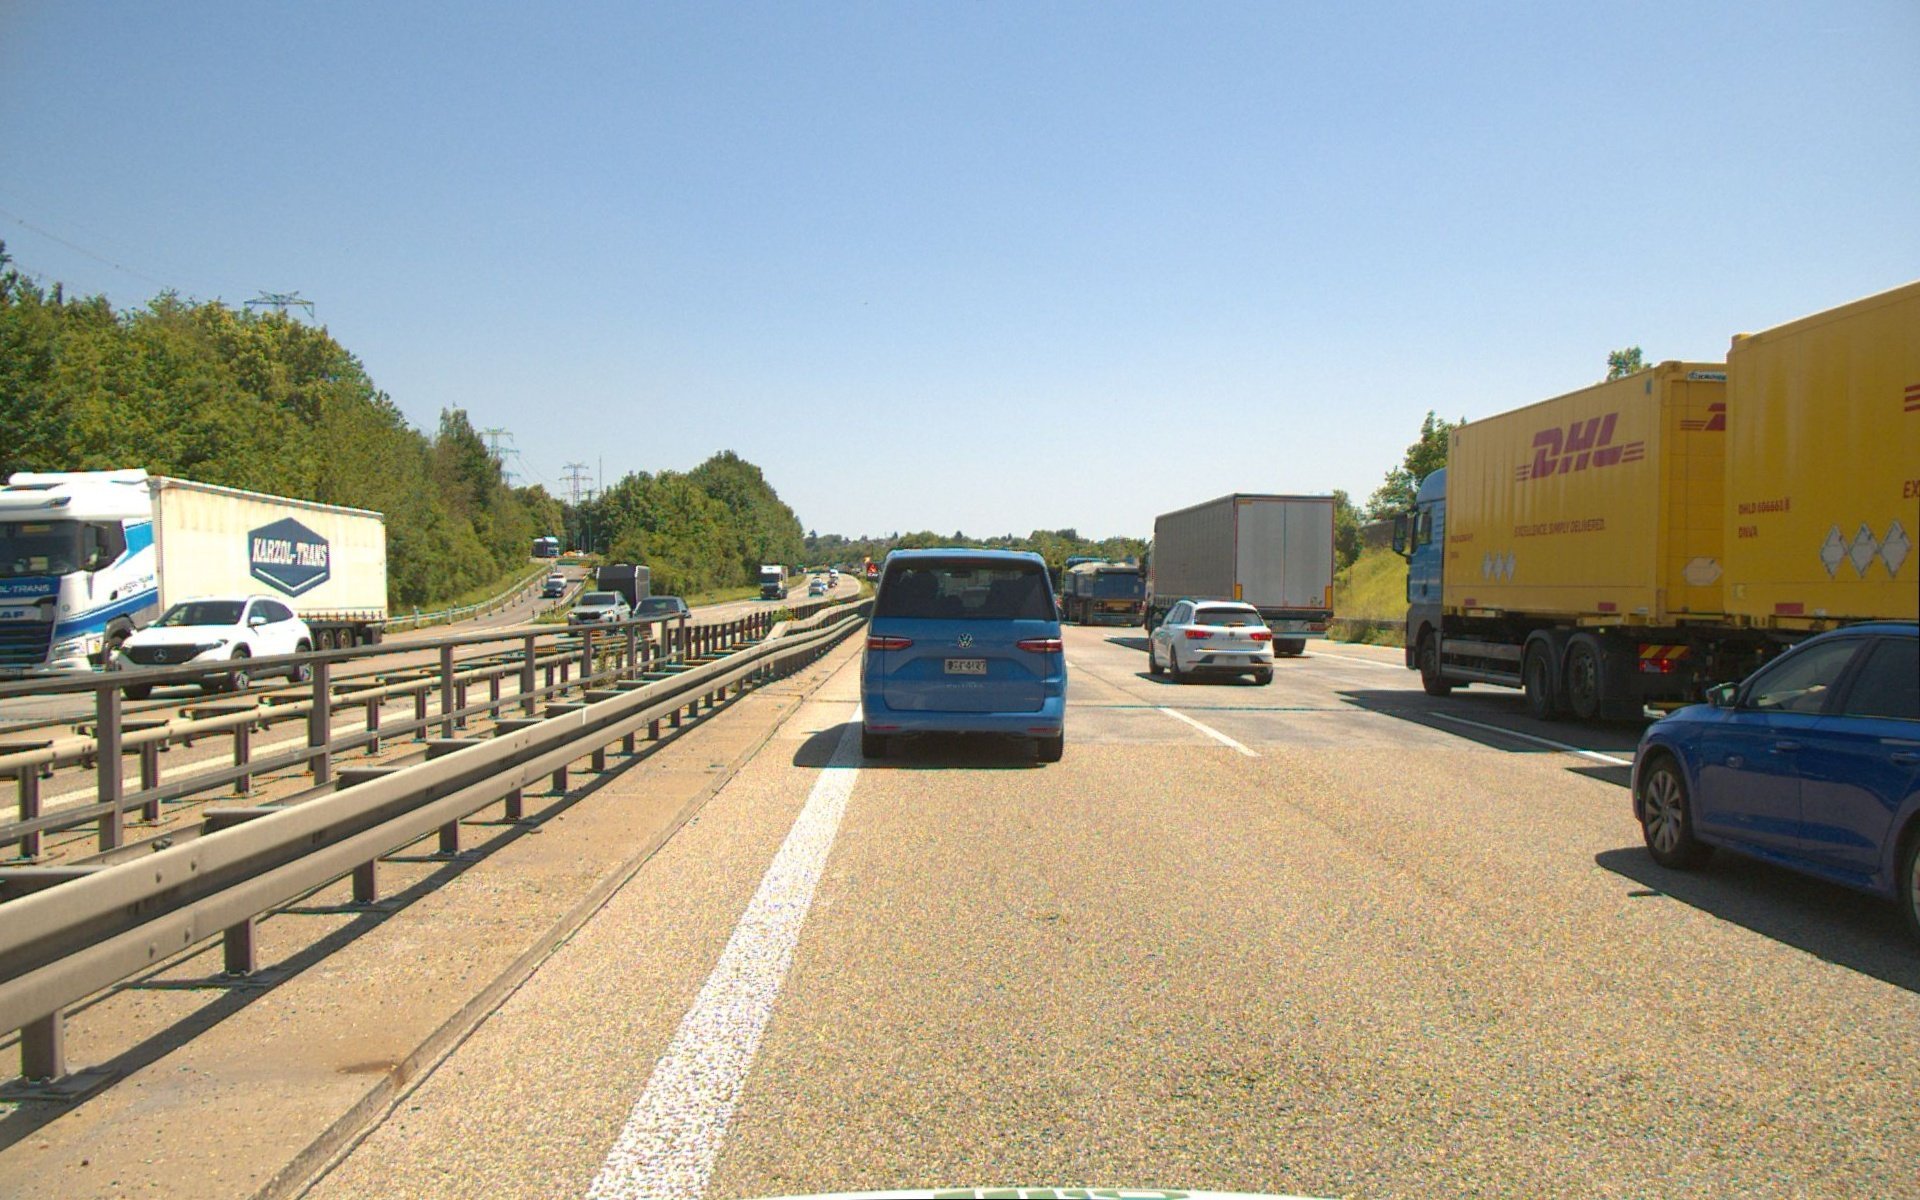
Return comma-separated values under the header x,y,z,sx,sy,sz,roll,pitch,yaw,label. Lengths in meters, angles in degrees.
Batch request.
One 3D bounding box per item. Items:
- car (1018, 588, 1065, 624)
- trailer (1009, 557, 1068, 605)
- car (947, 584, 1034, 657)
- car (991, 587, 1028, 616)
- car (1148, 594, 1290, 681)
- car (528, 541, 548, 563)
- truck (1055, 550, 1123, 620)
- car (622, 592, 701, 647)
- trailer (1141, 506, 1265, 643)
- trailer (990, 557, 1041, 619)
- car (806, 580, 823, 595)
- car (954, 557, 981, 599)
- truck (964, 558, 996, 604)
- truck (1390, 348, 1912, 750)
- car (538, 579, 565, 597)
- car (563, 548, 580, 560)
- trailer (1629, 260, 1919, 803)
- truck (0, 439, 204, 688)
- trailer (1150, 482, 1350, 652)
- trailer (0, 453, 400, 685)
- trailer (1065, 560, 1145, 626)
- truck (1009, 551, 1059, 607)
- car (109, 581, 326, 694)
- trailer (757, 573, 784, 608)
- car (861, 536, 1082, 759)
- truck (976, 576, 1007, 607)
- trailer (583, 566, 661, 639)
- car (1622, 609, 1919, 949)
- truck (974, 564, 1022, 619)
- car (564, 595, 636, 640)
x,y,z,sx,sy,sz,roll,pitch,yaw,label
3.529,0.270,72.440,1.803,1.480,3.999,2,0,-1,car
5.674,-1.275,122.584,3.572,3.133,15.770,1,0,0,trailer
0.667,0.469,39.011,1.833,1.579,3.998,2,0,-2,car
2.679,0.096,89.814,1.745,1.551,3.998,1,0,-2,car
4.521,0.612,29.443,1.829,1.385,3.999,2,0,-1,car
-59.638,-6.757,233.797,2.039,2.930,6.692,0,0,-20,car
6.606,-0.815,85.814,2.688,3.369,7.131,1,1,-2,truck
-9.308,0.605,51.802,1.755,1.600,3.999,1,0,-1,car
7.733,-0.808,53.466,2.865,4.114,6.408,1,0,-2,trailer
4.900,-0.947,148.441,3.573,5.226,13.070,1,0,-2,trailer
-19.881,-1.660,226.006,1.953,1.975,4.895,1,0,-1,car
0.930,-2.878,219.962,3.153,5.349,8.141,1,-1,-2,car
2.284,-2.104,189.113,3.007,5.006,10.685,1,0,-2,truck
8.597,-0.547,22.442,2.709,4.181,9.950,1,0,-1,truck
-38.863,-1.108,157.416,1.956,1.603,5.264,2,0,-9,car
-57.721,-6.802,245.550,1.909,1.536,4.372,2,0,-21,car
8.736,-0.509,13.303,2.709,4.189,9.375,1,0,-1,trailer
-17.268,-0.595,31.091,3.925,4.302,4.857,-1,0,-2,truck
7.913,-0.844,47.497,2.902,4.120,13.747,1,0,-2,trailer
-17.364,-0.533,38.601,3.908,4.309,14.036,-2,0,-1,trailer
6.793,-0.408,78.609,2.688,2.886,9.113,2,1,-2,trailer
5.734,-1.571,129.549,3.551,4.166,7.524,1,-1,0,truck
-12.401,0.597,27.935,1.713,1.726,4.384,-1,0,-1,car
-22.887,-1.169,199.894,2.701,4.045,6.129,-1,1,-2,trailer
0.080,0.426,16.244,1.863,1.870,3.999,1,0,-1,car
1.981,-0.517,103.697,1.691,1.890,3.998,1,0,-2,truck
-14.088,0.114,69.341,2.122,2.825,5.375,-3,0,-1,trailer
5.013,0.812,8.085,1.671,1.466,4.426,2,0,-1,car
3.754,-0.812,169.807,3.549,5.304,15.678,1,0,-3,truck
-13.951,0.671,64.379,1.833,1.654,4.627,-1,0,-1,car
